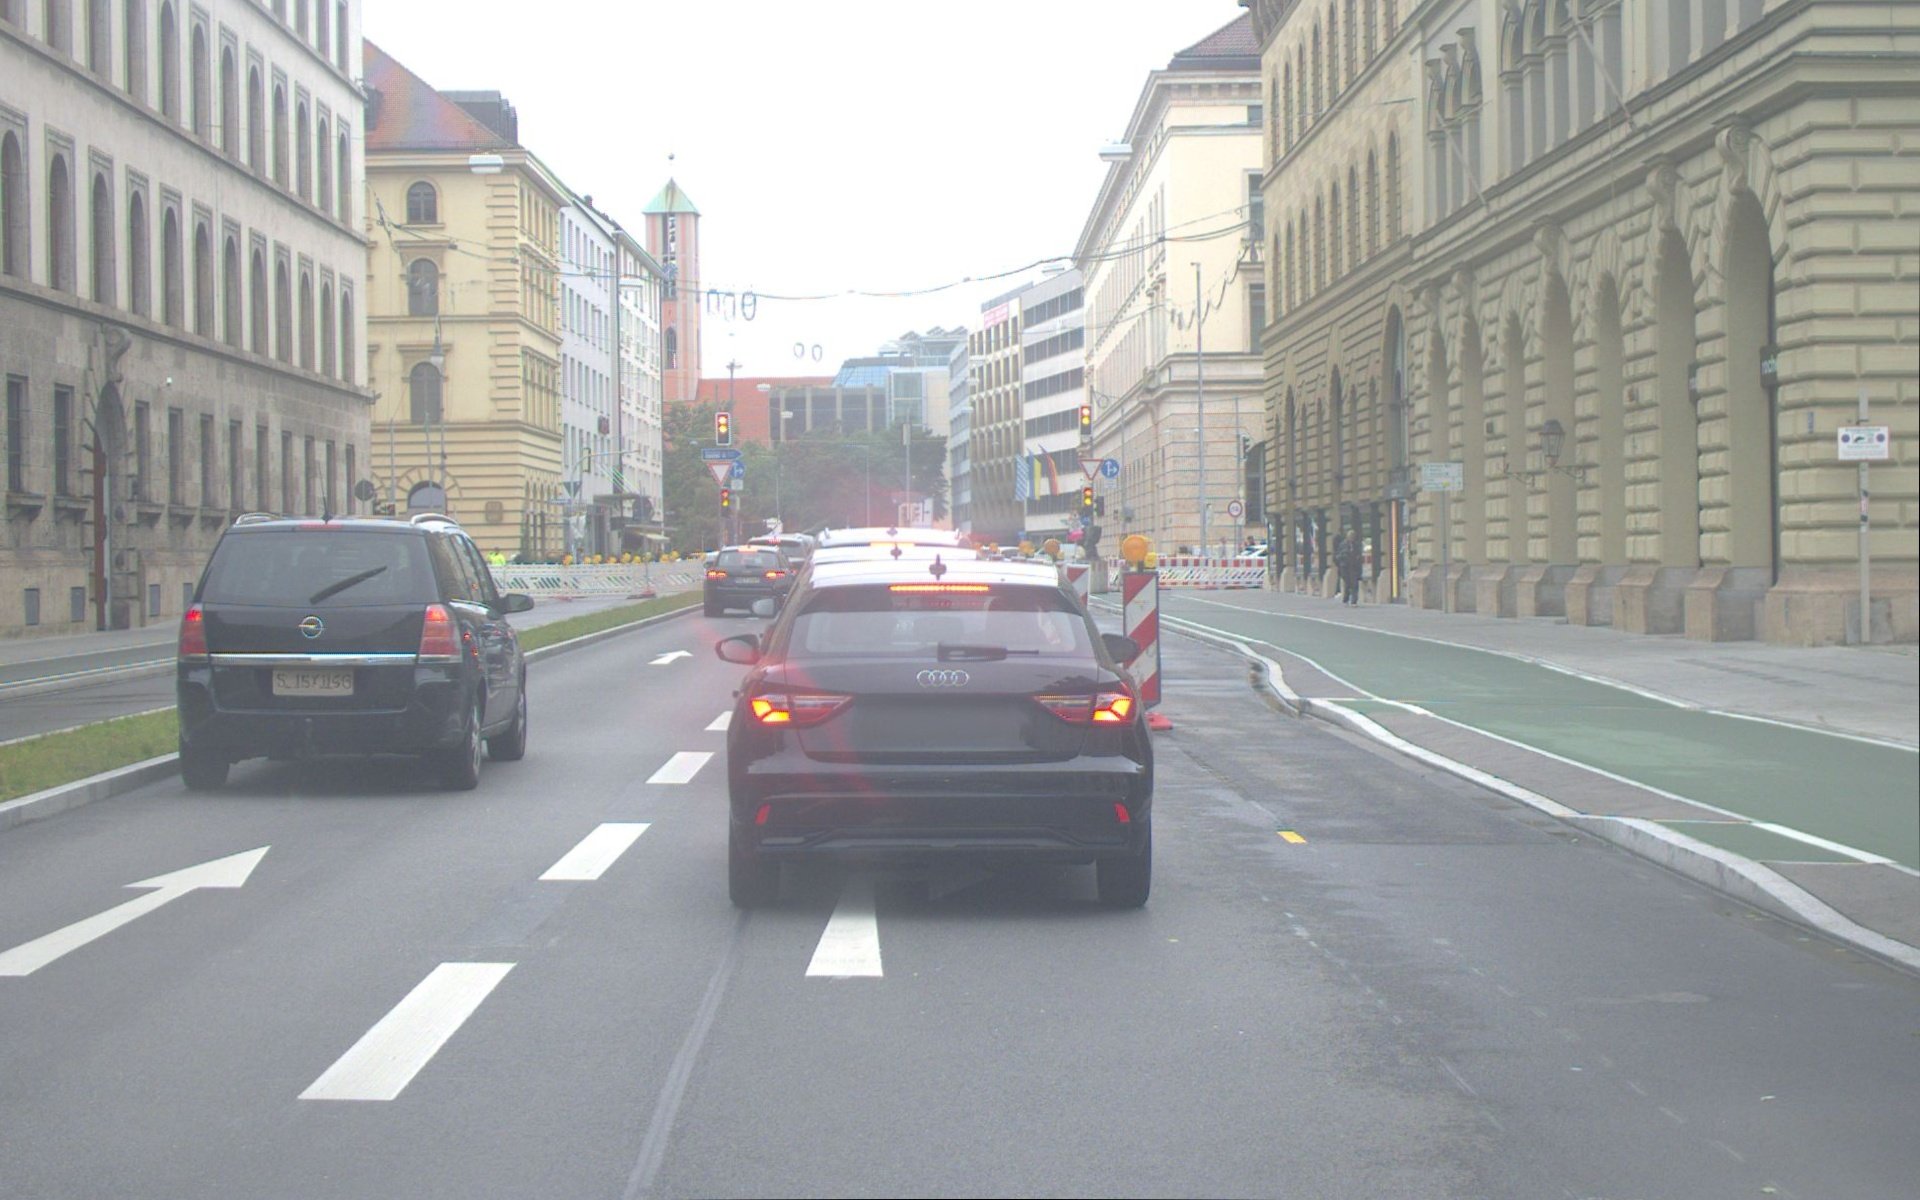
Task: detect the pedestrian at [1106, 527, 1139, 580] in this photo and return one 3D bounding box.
[{"bbox_3d":[5.032,-1.438,106.344,0.710,1.612,0.754,-1,1,-30],"label":"pedestrian"}]

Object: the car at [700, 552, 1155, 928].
[{"bbox_3d":[-0.151,0.510,15.198,1.730,1.398,4.000,1,1,-1],"label":"car"}]

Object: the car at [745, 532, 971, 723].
[{"bbox_3d":[-0.813,0.174,28.613,1.730,1.456,4.000,1,1,-1],"label":"car"}]

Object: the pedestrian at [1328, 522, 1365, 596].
[{"bbox_3d":[8.500,-0.905,75.609,0.710,1.612,0.754,-1,1,-1],"label":"pedestrian"}]

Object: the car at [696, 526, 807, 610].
[{"bbox_3d":[-4.167,-0.664,69.308,1.993,1.622,4.000,-1,1,0],"label":"car"}]

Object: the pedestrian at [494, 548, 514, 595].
[{"bbox_3d":[-17.647,-1.099,132.983,0.656,1.799,0.727,-1,1,-1],"label":"pedestrian"}]

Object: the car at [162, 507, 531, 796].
[{"bbox_3d":[-3.693,0.252,21.321,1.764,1.610,4.030,0,1,-3],"label":"car"}]

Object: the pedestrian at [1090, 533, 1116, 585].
[{"bbox_3d":[4.518,-1.288,108.453,0.752,1.612,0.712,-1,1,8],"label":"pedestrian"}]

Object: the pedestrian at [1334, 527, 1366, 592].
[{"bbox_3d":[9.834,-1.021,86.670,0.710,1.612,0.754,-1,1,-1],"label":"pedestrian"}]

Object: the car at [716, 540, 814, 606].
[{"bbox_3d":[-4.376,-0.632,77.612,1.993,1.439,4.000,-1,1,0],"label":"car"}]

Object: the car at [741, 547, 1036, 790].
[{"bbox_3d":[-0.448,0.372,22.341,1.730,1.398,4.000,1,1,-1],"label":"car"}]
